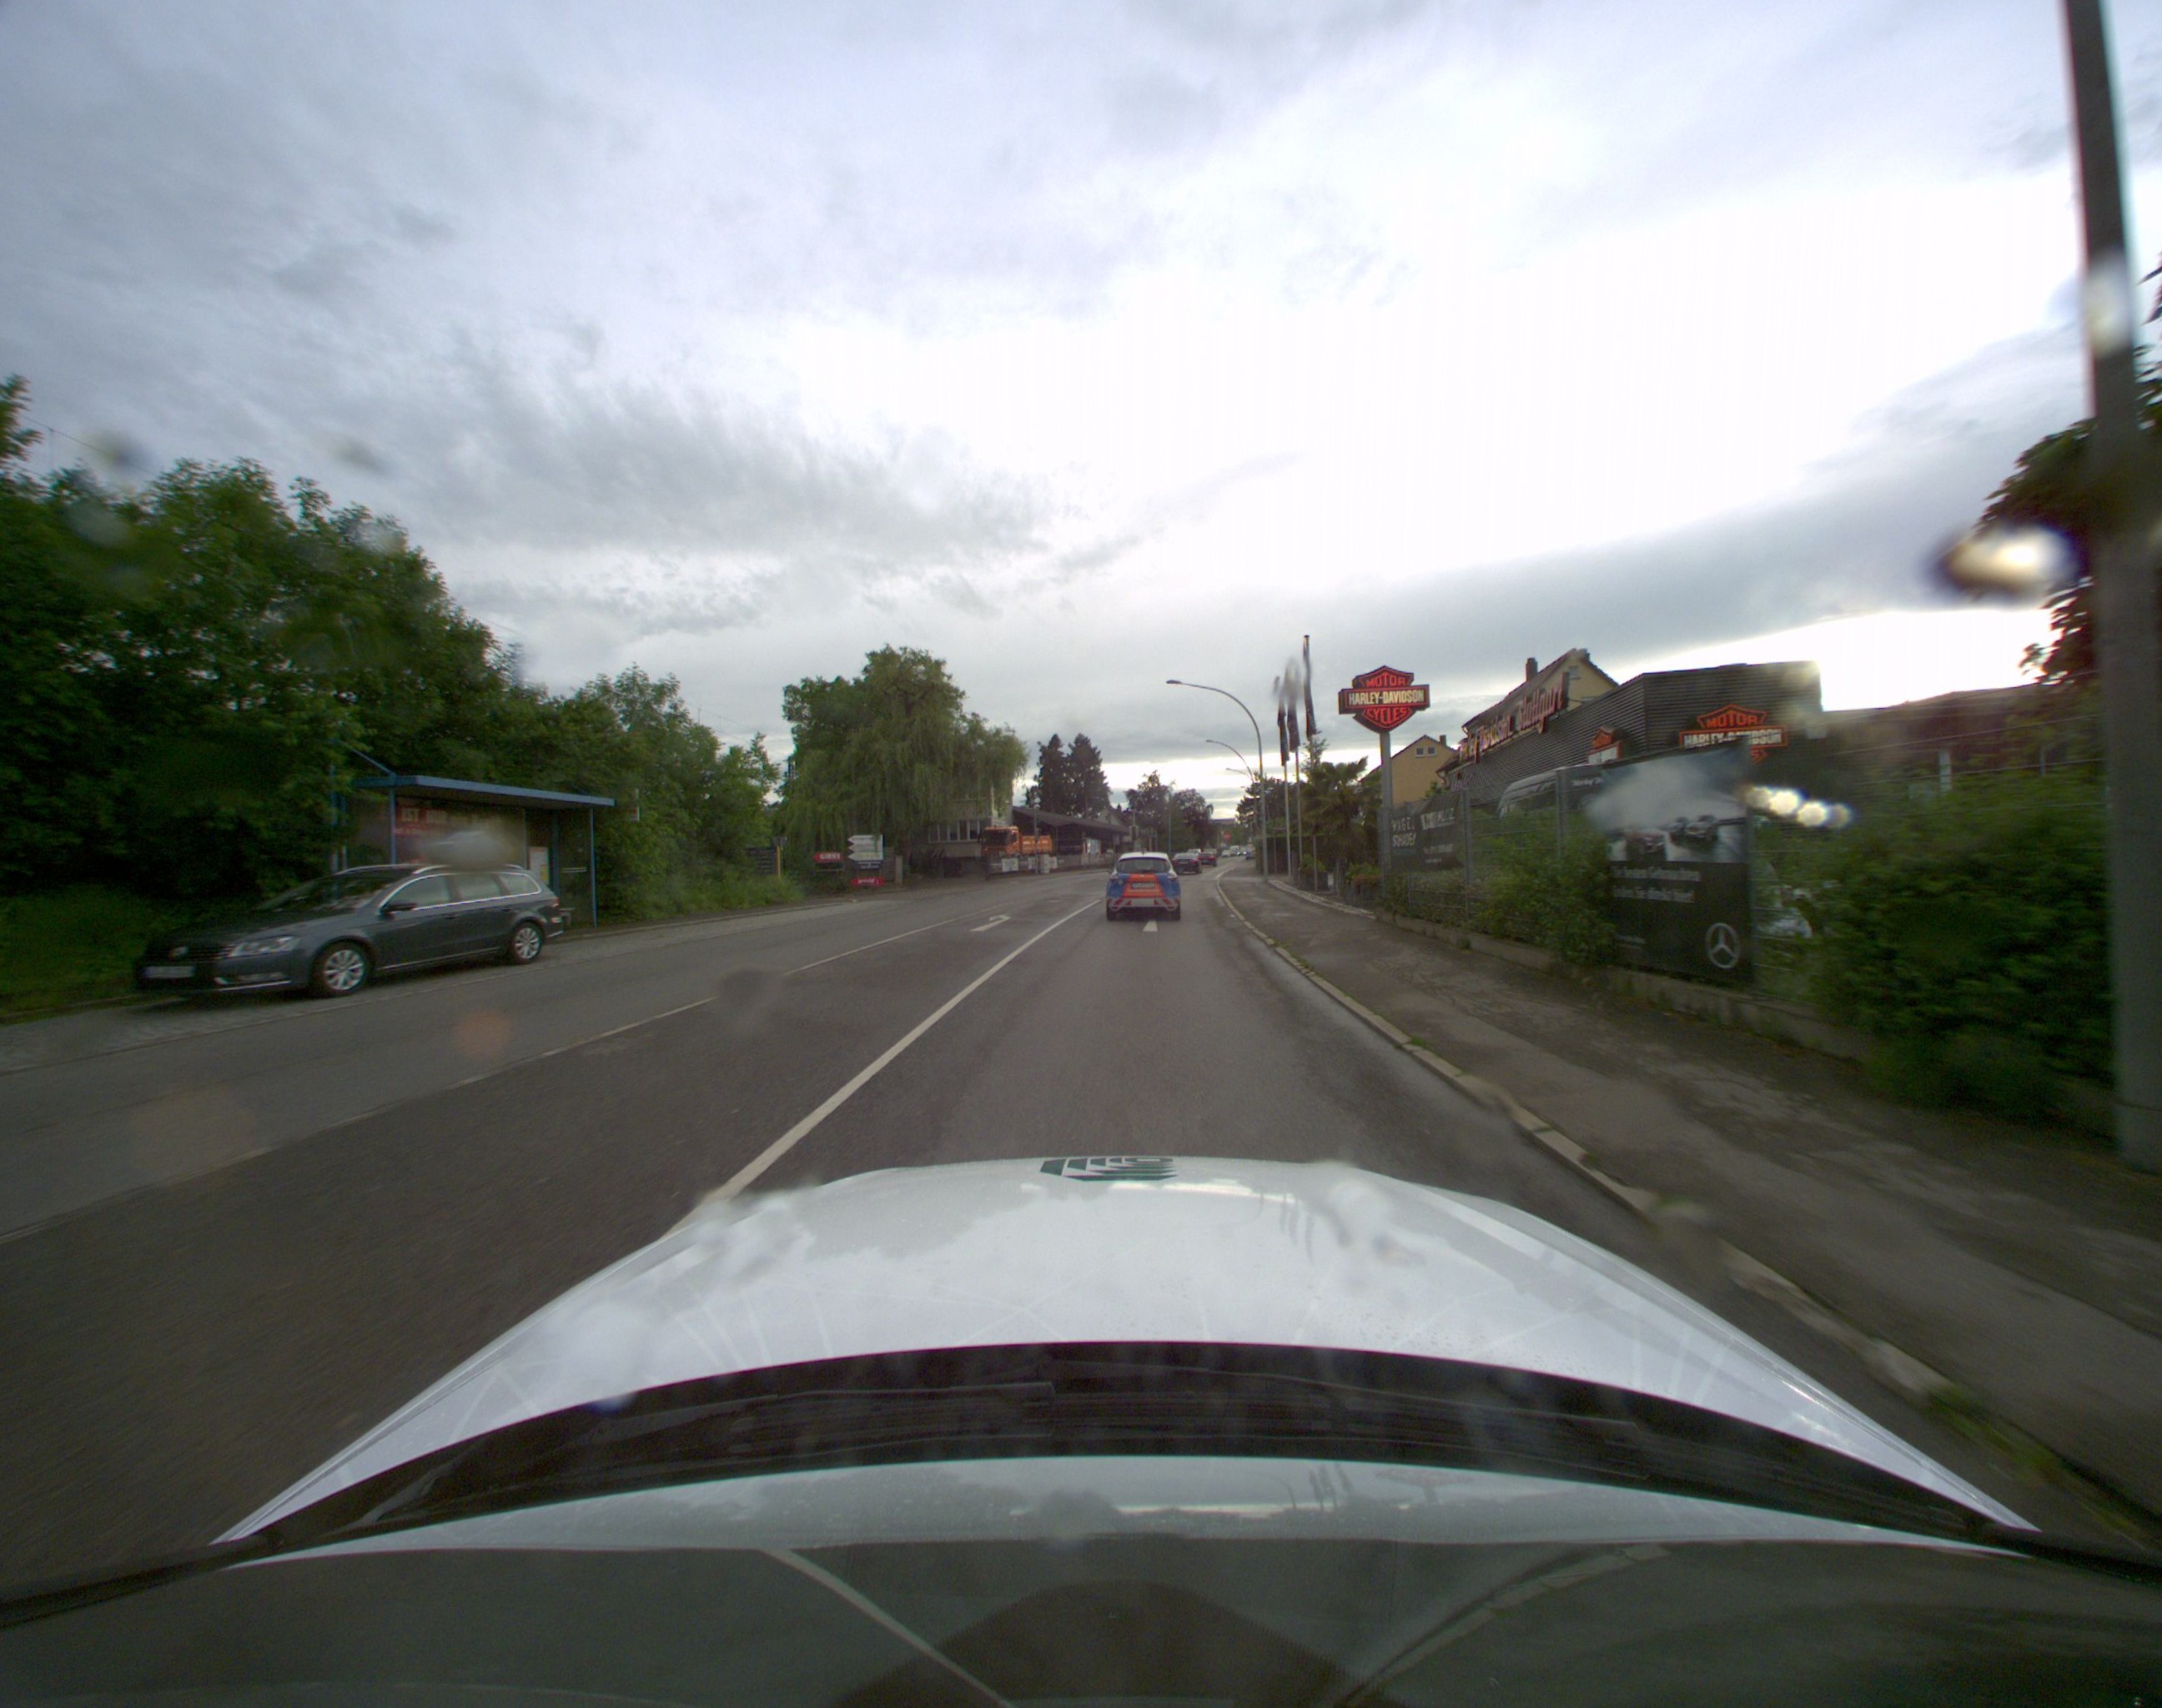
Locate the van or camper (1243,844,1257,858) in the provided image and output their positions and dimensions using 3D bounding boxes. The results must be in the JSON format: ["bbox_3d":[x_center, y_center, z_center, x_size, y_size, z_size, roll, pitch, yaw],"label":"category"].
[{"bbox_3d":[24.323,-0.484,117.260,1.742,1.883,4.015,-2,0,14],"label":"van or camper"}]

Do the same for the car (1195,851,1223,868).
[{"bbox_3d":[12.045,0.538,76.549,1.977,1.420,4.018,0,-2,18],"label":"car"}]

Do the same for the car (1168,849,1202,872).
[{"bbox_3d":[6.607,0.460,52.249,1.715,1.376,3.933,1,-2,1],"label":"car"}]

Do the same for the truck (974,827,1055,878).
[{"bbox_3d":[-4.714,0.012,60.189,2.676,3.412,9.110,0,-2,17],"label":"truck"}]

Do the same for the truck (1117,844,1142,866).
[{"bbox_3d":[6.777,0.182,113.167,2.377,2.927,5.979,1,-1,14],"label":"truck"}]

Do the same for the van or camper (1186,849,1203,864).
[{"bbox_3d":[16.879,0.336,120.818,1.877,2.014,5.115,1,-2,14],"label":"van or camper"}]

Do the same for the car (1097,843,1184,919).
[{"bbox_3d":[1.547,0.583,20.069,1.879,1.632,4.007,-2,0,6],"label":"car"}]

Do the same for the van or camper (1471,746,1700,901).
[{"bbox_3d":[10.215,-0.518,17.275,2.027,2.593,6.612,-2,0,13],"label":"van or camper"}]

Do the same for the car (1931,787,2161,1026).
[{"bbox_3d":[9.821,0.348,6.352,4.063,1.838,1.785,-2,0,32],"label":"car"}]

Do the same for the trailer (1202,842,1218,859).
[{"bbox_3d":[23.367,-0.659,147.373,2.206,2.011,4.454,-13,6,13],"label":"trailer"}]

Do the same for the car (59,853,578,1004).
[{"bbox_3d":[-9.138,0.819,10.542,1.984,1.474,4.705,1,-2,5],"label":"car"}]
